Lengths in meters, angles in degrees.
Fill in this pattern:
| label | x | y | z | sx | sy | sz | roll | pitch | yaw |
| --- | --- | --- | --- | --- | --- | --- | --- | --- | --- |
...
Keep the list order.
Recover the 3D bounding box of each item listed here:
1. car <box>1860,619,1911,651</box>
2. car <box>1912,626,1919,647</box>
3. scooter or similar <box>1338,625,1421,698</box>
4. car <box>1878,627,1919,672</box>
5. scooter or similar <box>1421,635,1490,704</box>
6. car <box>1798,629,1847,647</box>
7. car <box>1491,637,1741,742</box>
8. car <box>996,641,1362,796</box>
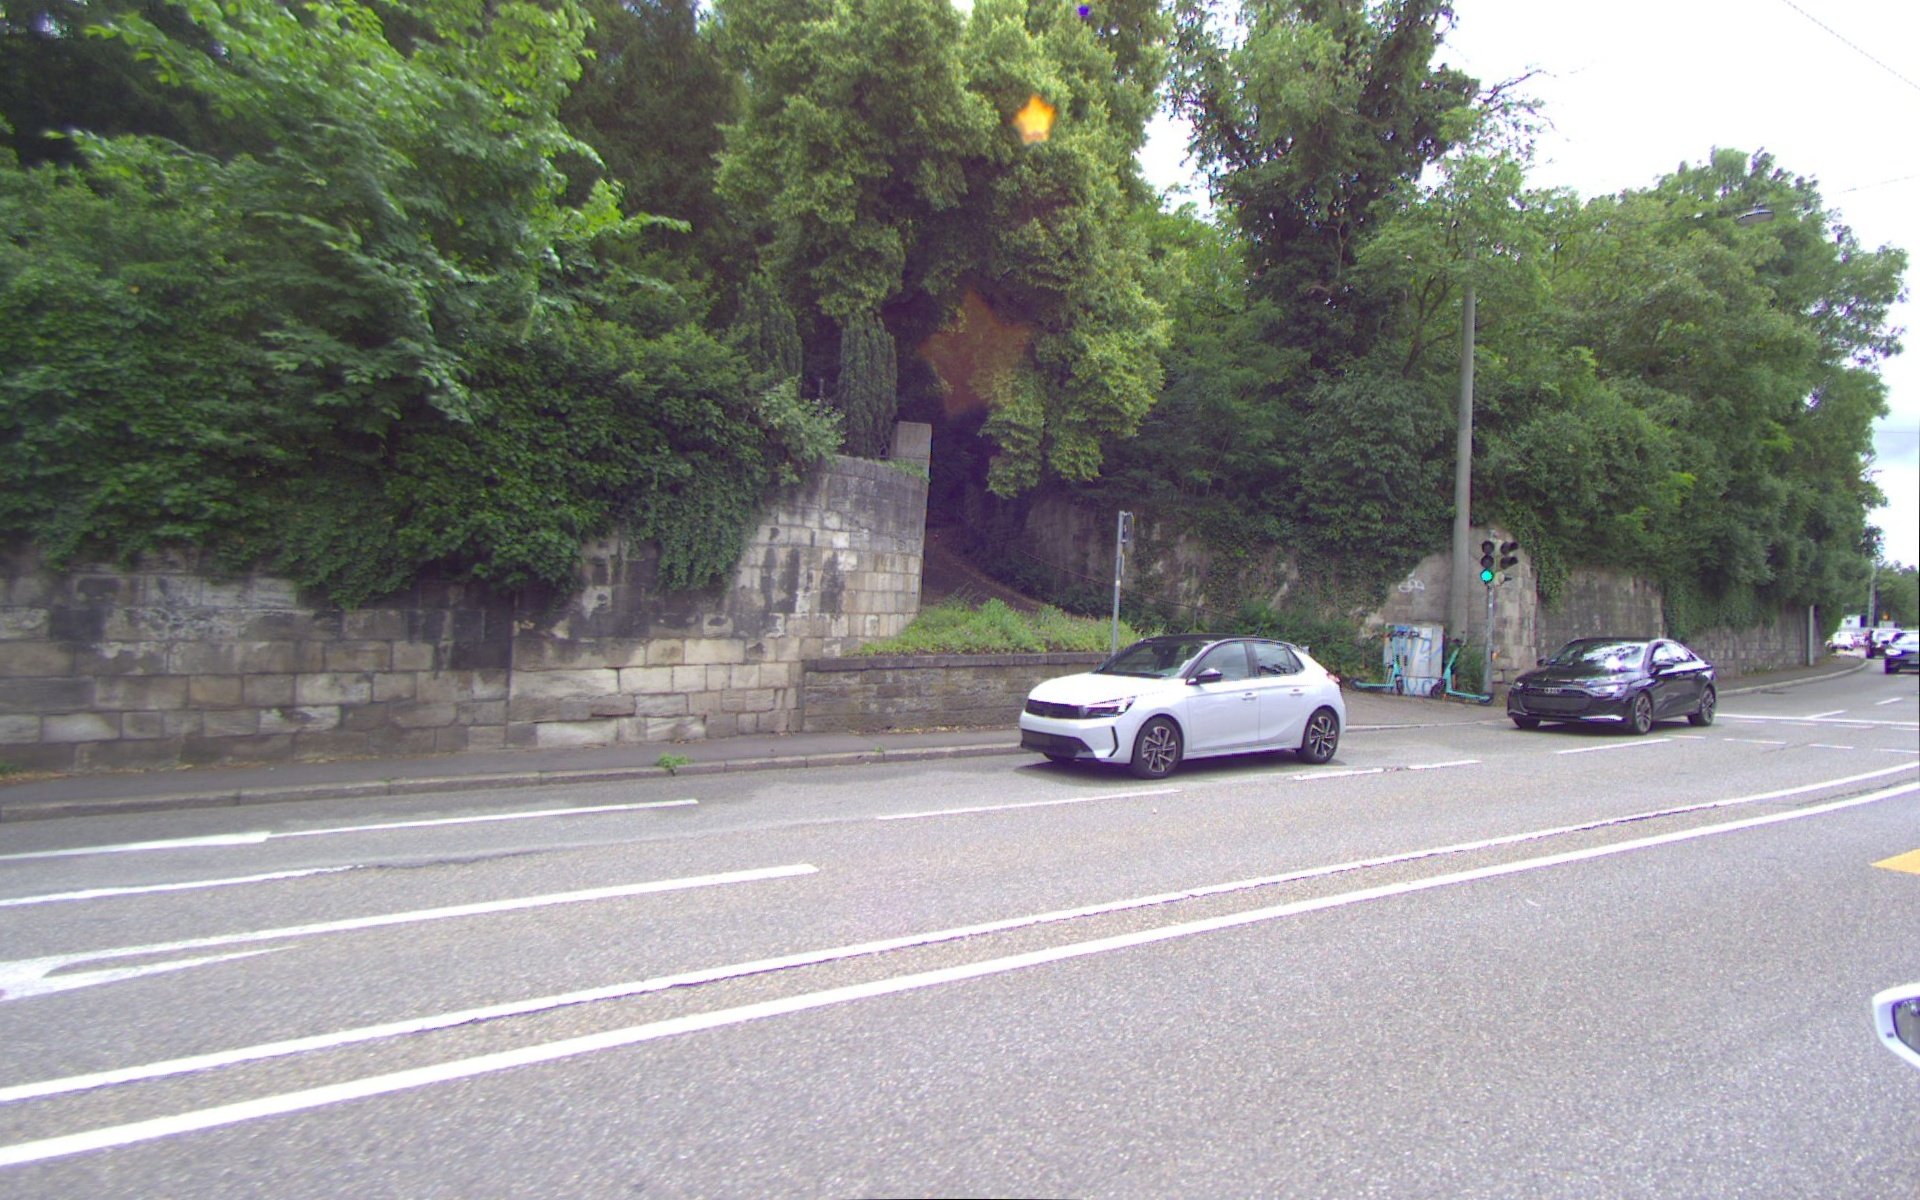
| label | x | y | z | sx | sy | sz | roll | pitch | yaw |
| --- | --- | --- | --- | --- | --- | --- | --- | --- | --- |
| car | 55.823 | 2.120 | 60.564 | 4.213 | 1.870 | 1.729 | 1 | -2 | -40 |
| car | 78.815 | 2.978 | 80.942 | 1.812 | 1.722 | 3.997 | 0 | -1 | 25 |
| scooter or similar | 8.424 | 1.224 | 20.206 | 1.324 | 1.253 | 0.434 | 8 | 3 | 4 |
| car | 36.517 | 1.865 | 38.081 | 4.440 | 1.629 | 1.977 | 2 | -3 | -40 |
| scooter or similar | 9.856 | 1.375 | 19.997 | 1.076 | 1.254 | 0.434 | 4 | 2 | 12 |
| car | 72.758 | 3.196 | 84.776 | 1.753 | 1.485 | 4.102 | -1 | -3 | 20 |
| car | 10.381 | 1.315 | 15.807 | 4.381 | 1.437 | 1.673 | 1 | -3 | -33 |
| car | 2.504 | 1.175 | 11.188 | 3.981 | 1.421 | 1.705 | 1 | -2 | -34 |
